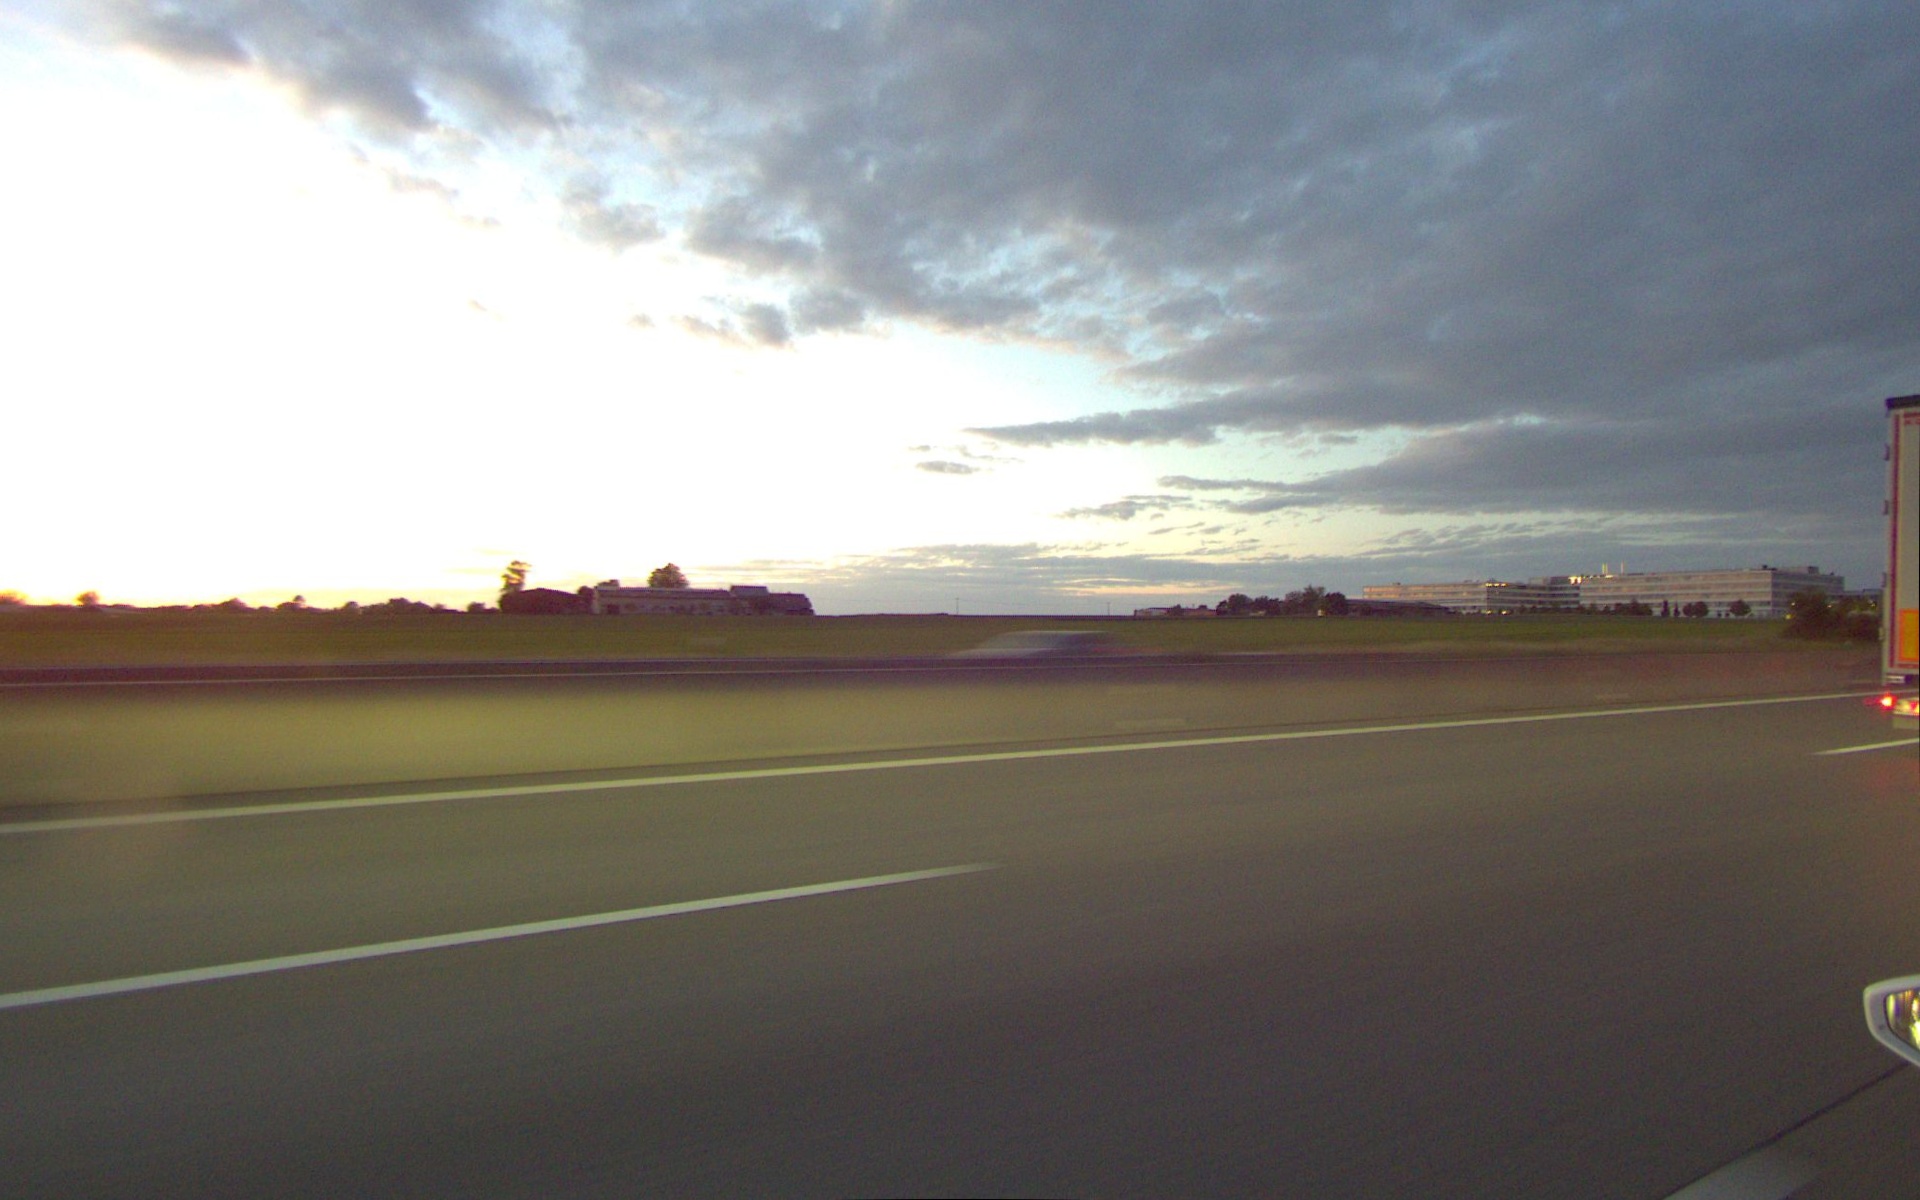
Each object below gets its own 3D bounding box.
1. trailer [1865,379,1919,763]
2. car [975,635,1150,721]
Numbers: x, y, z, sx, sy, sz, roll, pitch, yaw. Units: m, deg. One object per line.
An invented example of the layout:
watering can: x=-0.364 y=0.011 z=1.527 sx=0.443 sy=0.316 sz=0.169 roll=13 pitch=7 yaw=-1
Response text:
trailer: x=16.967 y=-0.116 z=13.709 sx=14.358 sy=4.139 sz=2.780 roll=2 pitch=-2 yaw=-31
car: x=2.732 y=1.992 z=26.482 sx=4.367 sy=2.040 sz=1.765 roll=2 pitch=0 yaw=-30
